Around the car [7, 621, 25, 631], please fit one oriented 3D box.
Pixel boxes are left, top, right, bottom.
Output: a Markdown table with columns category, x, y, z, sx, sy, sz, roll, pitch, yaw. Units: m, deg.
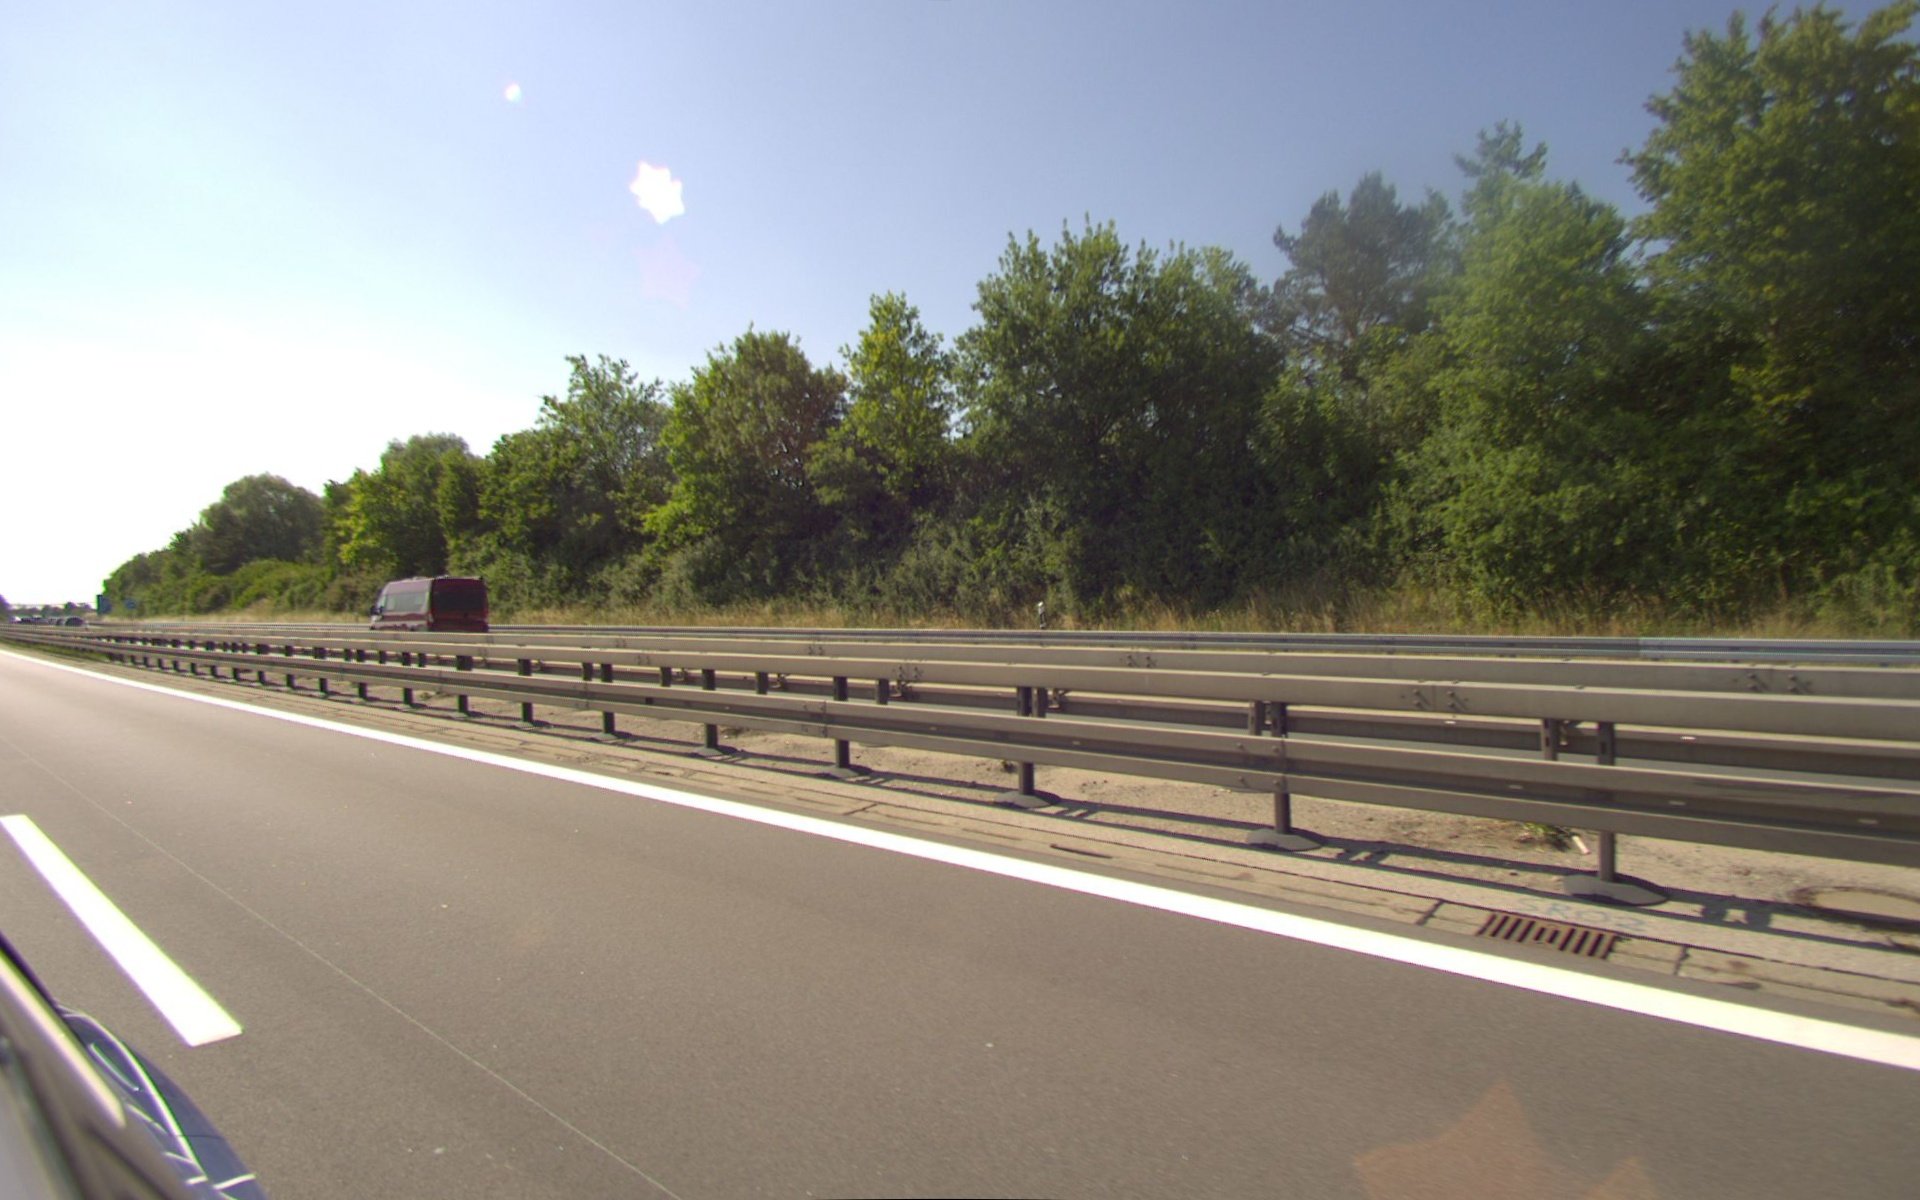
| category | x | y | z | sx | sy | sz | roll | pitch | yaw |
| --- | --- | --- | --- | --- | --- | --- | --- | --- | --- |
| car | -139.136 | 3.778 | 149.150 | 4.000 | 1.433 | 1.644 | -1 | 0 | 43 |

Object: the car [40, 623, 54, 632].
| category | x | y | z | sx | sy | sz | roll | pitch | yaw |
| --- | --- | --- | --- | --- | --- | --- | --- | --- | --- |
| car | -176.777 | 5.310 | 195.896 | 4.582 | 1.576 | 1.732 | -1 | 1 | 44 |

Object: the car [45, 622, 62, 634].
| category | x | y | z | sx | sy | sz | roll | pitch | yaw |
| --- | --- | --- | --- | --- | --- | --- | --- | --- | --- |
| car | -126.370 | 3.902 | 141.087 | 1.560 | 1.473 | 4.155 | -2 | 0 | -45 |

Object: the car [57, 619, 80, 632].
| category | x | y | z | sx | sy | sz | roll | pitch | yaw |
| --- | --- | --- | --- | --- | --- | --- | --- | --- | --- |
| car | -106.505 | 3.024 | 120.898 | 4.000 | 1.433 | 1.644 | -1 | 0 | 43 |

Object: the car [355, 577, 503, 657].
| category | x | y | z | sx | sy | sz | roll | pitch | yaw |
| --- | --- | --- | --- | --- | --- | --- | --- | --- | --- |
| car | -19.259 | 0.601 | 36.518 | 6.591 | 2.614 | 2.517 | -2 | 0 | 42 |
